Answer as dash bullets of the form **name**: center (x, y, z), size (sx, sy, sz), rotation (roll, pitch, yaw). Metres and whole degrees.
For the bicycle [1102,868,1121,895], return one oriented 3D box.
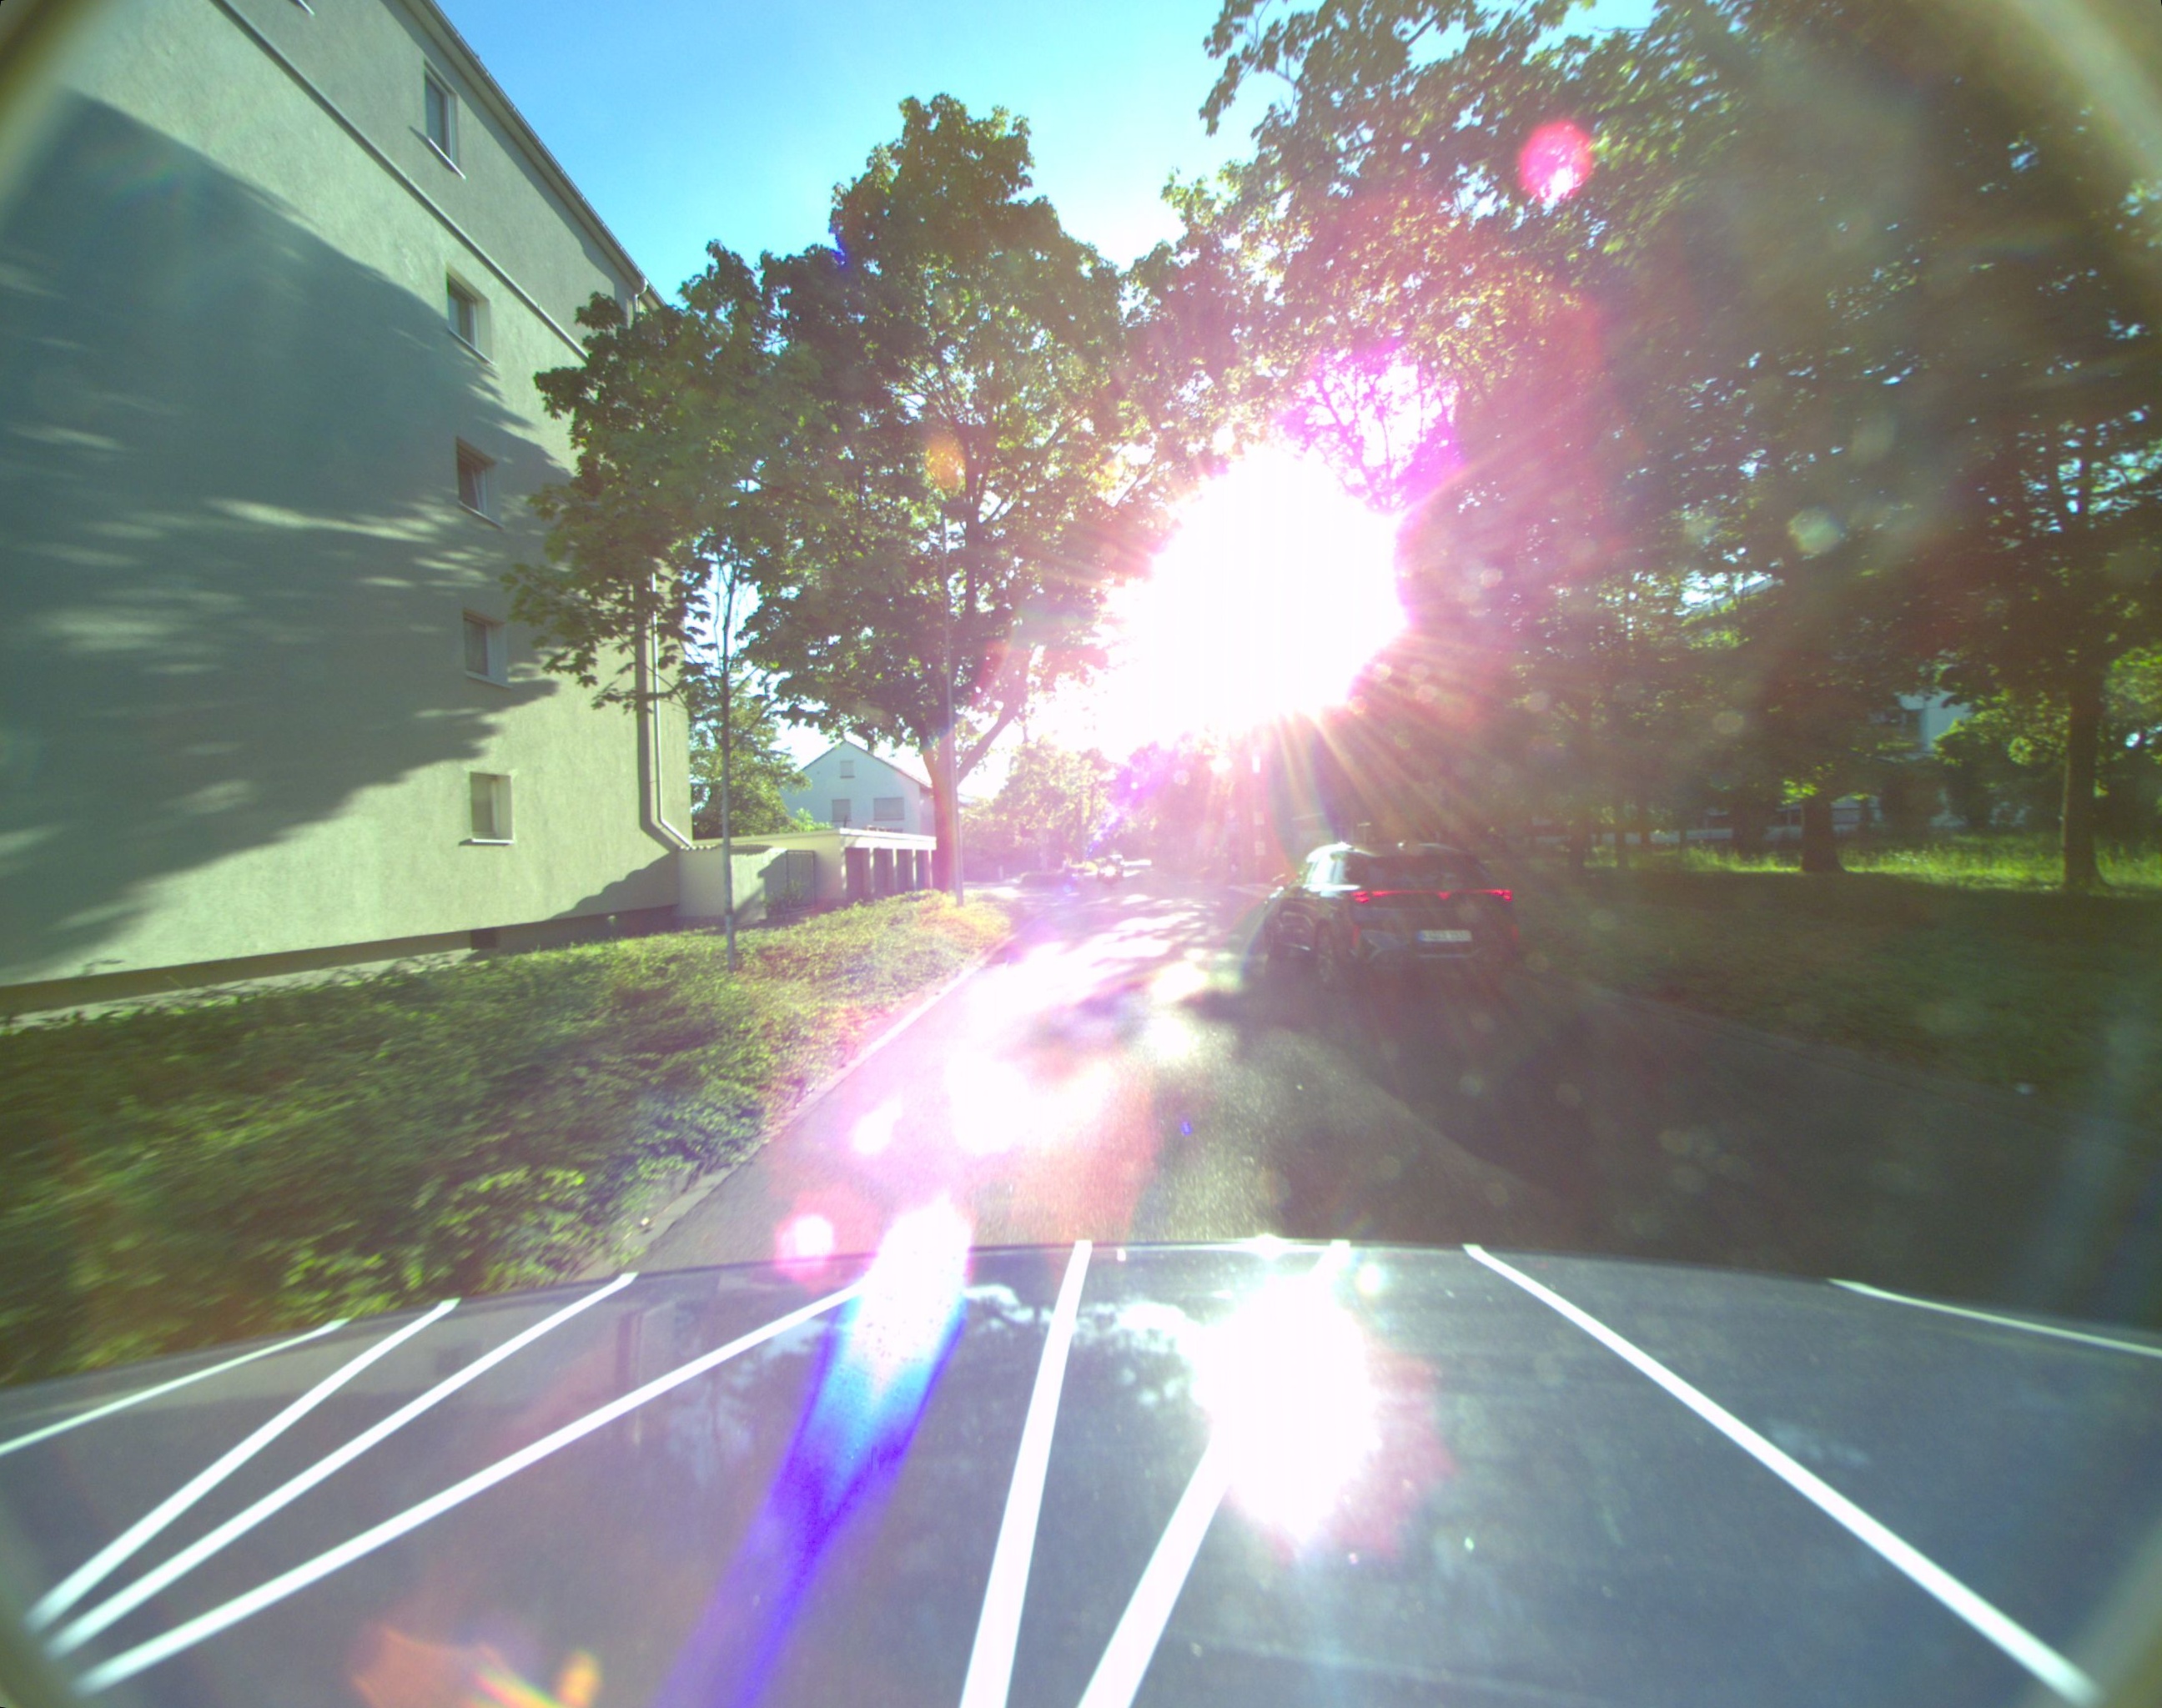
- **bicycle**: center (1.482, 1.322, 37.223), size (0.829, 1.182, 2.302), rotation (-2, 0, 2)

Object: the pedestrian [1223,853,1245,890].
- **pedestrian**: center (7.695, 0.869, 38.281), size (0.905, 1.810, 0.720), rotation (-2, 0, 0)

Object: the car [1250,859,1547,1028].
- **car**: center (3.447, 0.854, 9.257), size (1.848, 1.569, 4.336), rotation (0, 0, 1)

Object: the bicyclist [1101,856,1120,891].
- **bicyclist**: center (1.462, 0.937, 37.157), size (0.819, 1.635, 0.745), rotation (-3, 1, 2)
